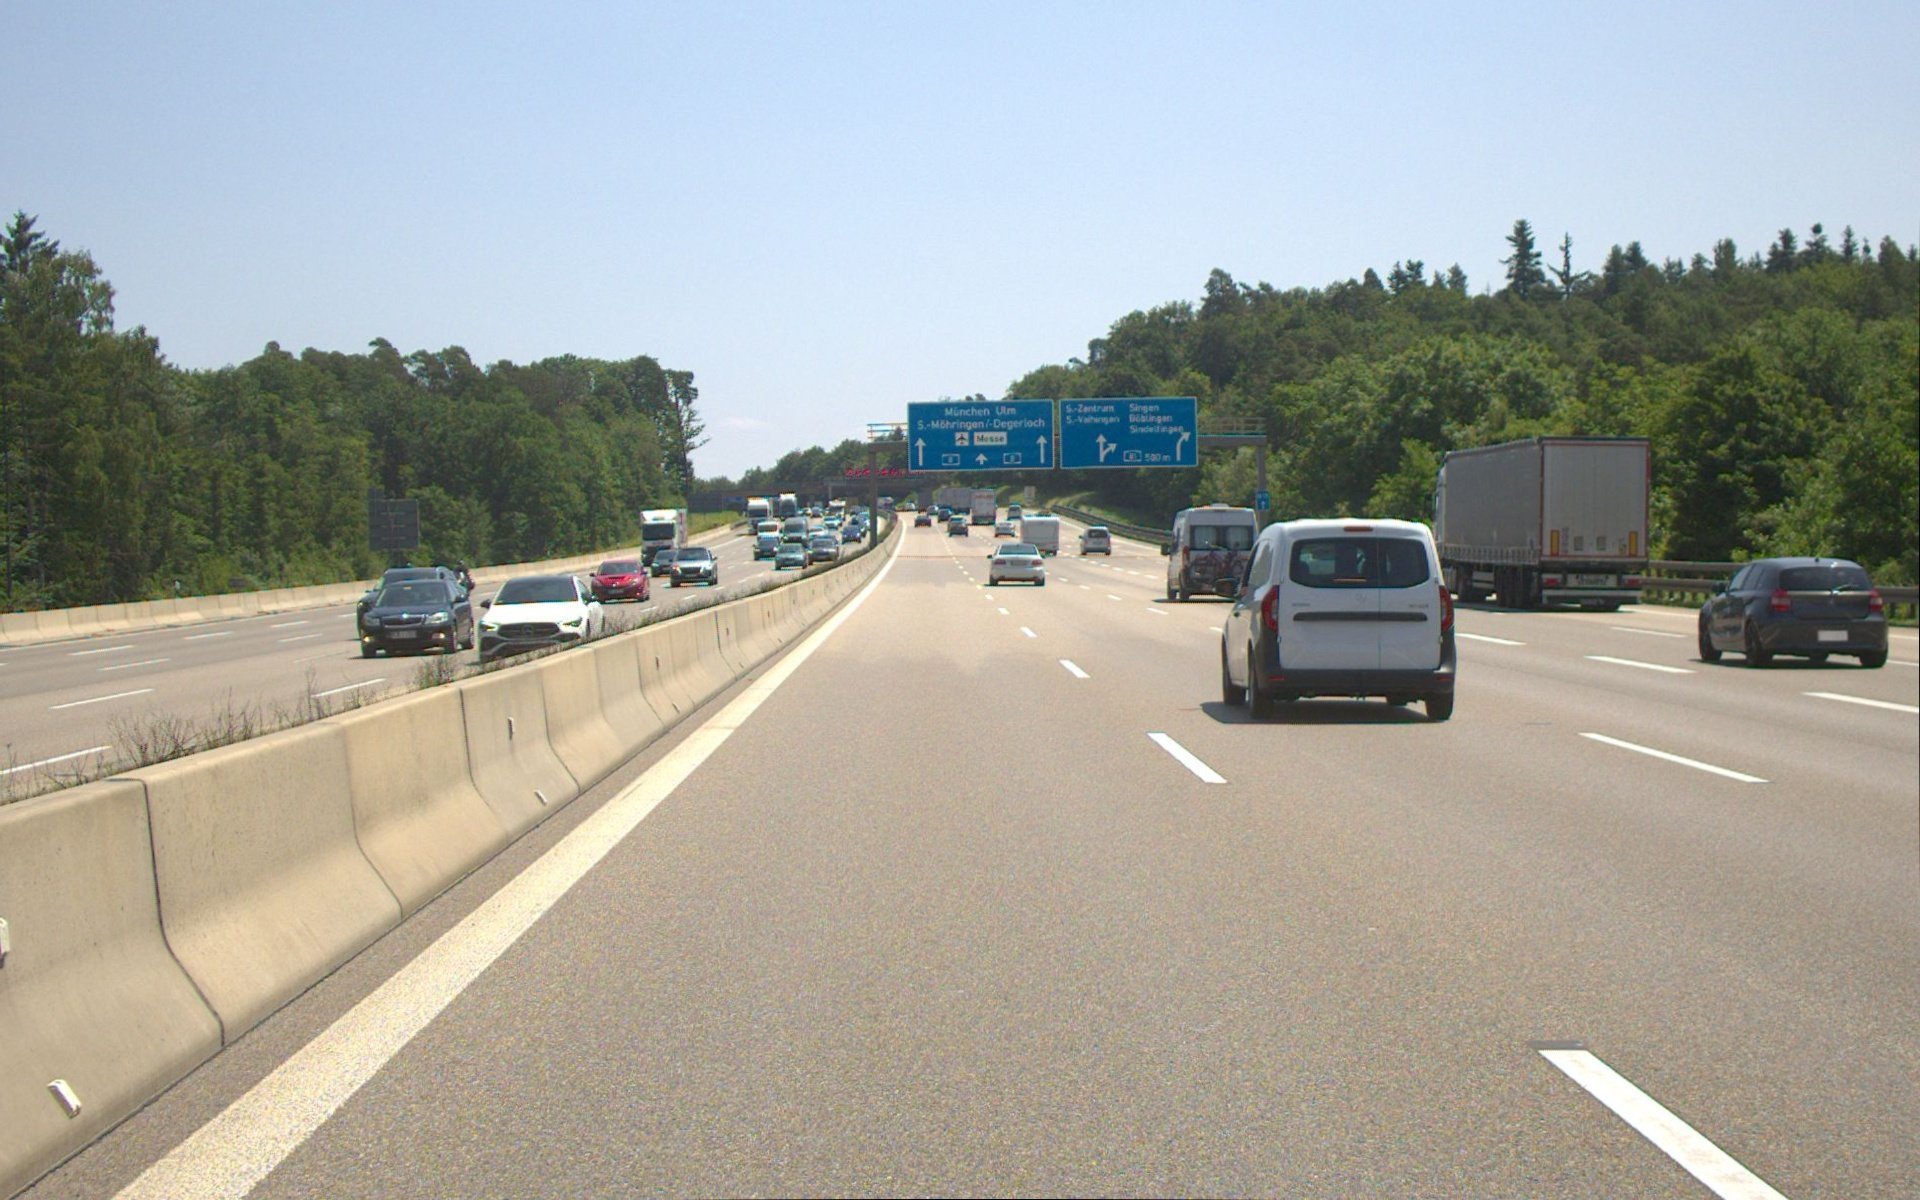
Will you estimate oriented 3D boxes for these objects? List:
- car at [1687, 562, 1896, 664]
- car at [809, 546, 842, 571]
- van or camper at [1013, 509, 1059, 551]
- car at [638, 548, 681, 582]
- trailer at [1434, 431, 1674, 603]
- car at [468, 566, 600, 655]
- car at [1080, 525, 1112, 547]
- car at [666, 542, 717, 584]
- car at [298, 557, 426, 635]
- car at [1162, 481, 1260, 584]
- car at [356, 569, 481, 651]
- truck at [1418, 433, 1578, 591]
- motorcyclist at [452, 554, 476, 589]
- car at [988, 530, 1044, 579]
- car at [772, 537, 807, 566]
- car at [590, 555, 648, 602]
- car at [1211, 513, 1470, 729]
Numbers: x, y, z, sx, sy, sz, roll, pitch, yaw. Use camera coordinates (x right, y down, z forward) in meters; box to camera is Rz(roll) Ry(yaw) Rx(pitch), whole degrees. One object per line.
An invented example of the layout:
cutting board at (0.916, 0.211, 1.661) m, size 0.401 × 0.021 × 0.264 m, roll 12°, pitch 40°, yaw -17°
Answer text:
car at (10.869, 0.175, 45.196) m, size 1.670 × 1.269 × 4.290 m, roll 0°, pitch 0°, yaw 0°
car at (-8.011, -2.477, 204.811) m, size 1.752 × 1.372 × 4.491 m, roll -3°, pitch 1°, yaw 0°
van or camper at (4.814, -4.422, 218.310) m, size 2.645 × 2.530 × 6.502 m, roll -1°, pitch 1°, yaw 0°
car at (-16.155, -1.876, 184.900) m, size 1.970 × 1.718 × 4.509 m, roll 3°, pitch 1°, yaw -2°
trailer at (14.564, -2.108, 85.717) m, size 3.287 × 3.917 × 13.892 m, roll 1°, pitch 2°, yaw -1°
car at (-7.232, 0.149, 58.699) m, size 1.824 × 1.390 × 4.465 m, roll -2°, pitch 1°, yaw -2°
car at (8.709, -4.080, 220.461) m, size 1.835 × 1.333 × 3.643 m, roll -2°, pitch 1°, yaw -1°
car at (-11.635, -1.618, 149.240) m, size 1.970 × 1.718 × 4.509 m, roll 3°, pitch 1°, yaw -2°
car at (-13.919, -0.124, 80.264) m, size 2.047 × 1.668 × 5.188 m, roll -2°, pitch 1°, yaw 0°
car at (6.682, -1.828, 91.978) m, size 2.143 × 2.643 × 5.710 m, roll 0°, pitch 2°, yaw 0°
car at (-10.368, 0.168, 66.089) m, size 1.702 × 1.422 × 4.614 m, roll -2°, pitch 1°, yaw -1°
truck at (14.402, -2.381, 92.468) m, size 3.254 × 4.092 × 5.988 m, roll 0°, pitch 2°, yaw -1°
motorcyclist at (-19.166, -1.112, 132.855) m, size 0.760 × 1.297 × 1.078 m, roll -2°, pitch 1°, yaw 0°
car at (1.934, -1.572, 119.517) m, size 1.843 × 1.623 × 4.553 m, roll -2°, pitch 1°, yaw 0°
car at (-9.493, -2.688, 191.117) m, size 1.717 × 1.507 × 4.351 m, roll -2°, pitch 1°, yaw 0°
car at (-11.654, -0.735, 117.773) m, size 1.572 × 1.506 × 4.030 m, roll -2°, pitch 1°, yaw 0°
car at (3.473, 0.149, 32.146) m, size 1.860 × 1.819 × 4.612 m, roll -2°, pitch 1°, yaw 0°
